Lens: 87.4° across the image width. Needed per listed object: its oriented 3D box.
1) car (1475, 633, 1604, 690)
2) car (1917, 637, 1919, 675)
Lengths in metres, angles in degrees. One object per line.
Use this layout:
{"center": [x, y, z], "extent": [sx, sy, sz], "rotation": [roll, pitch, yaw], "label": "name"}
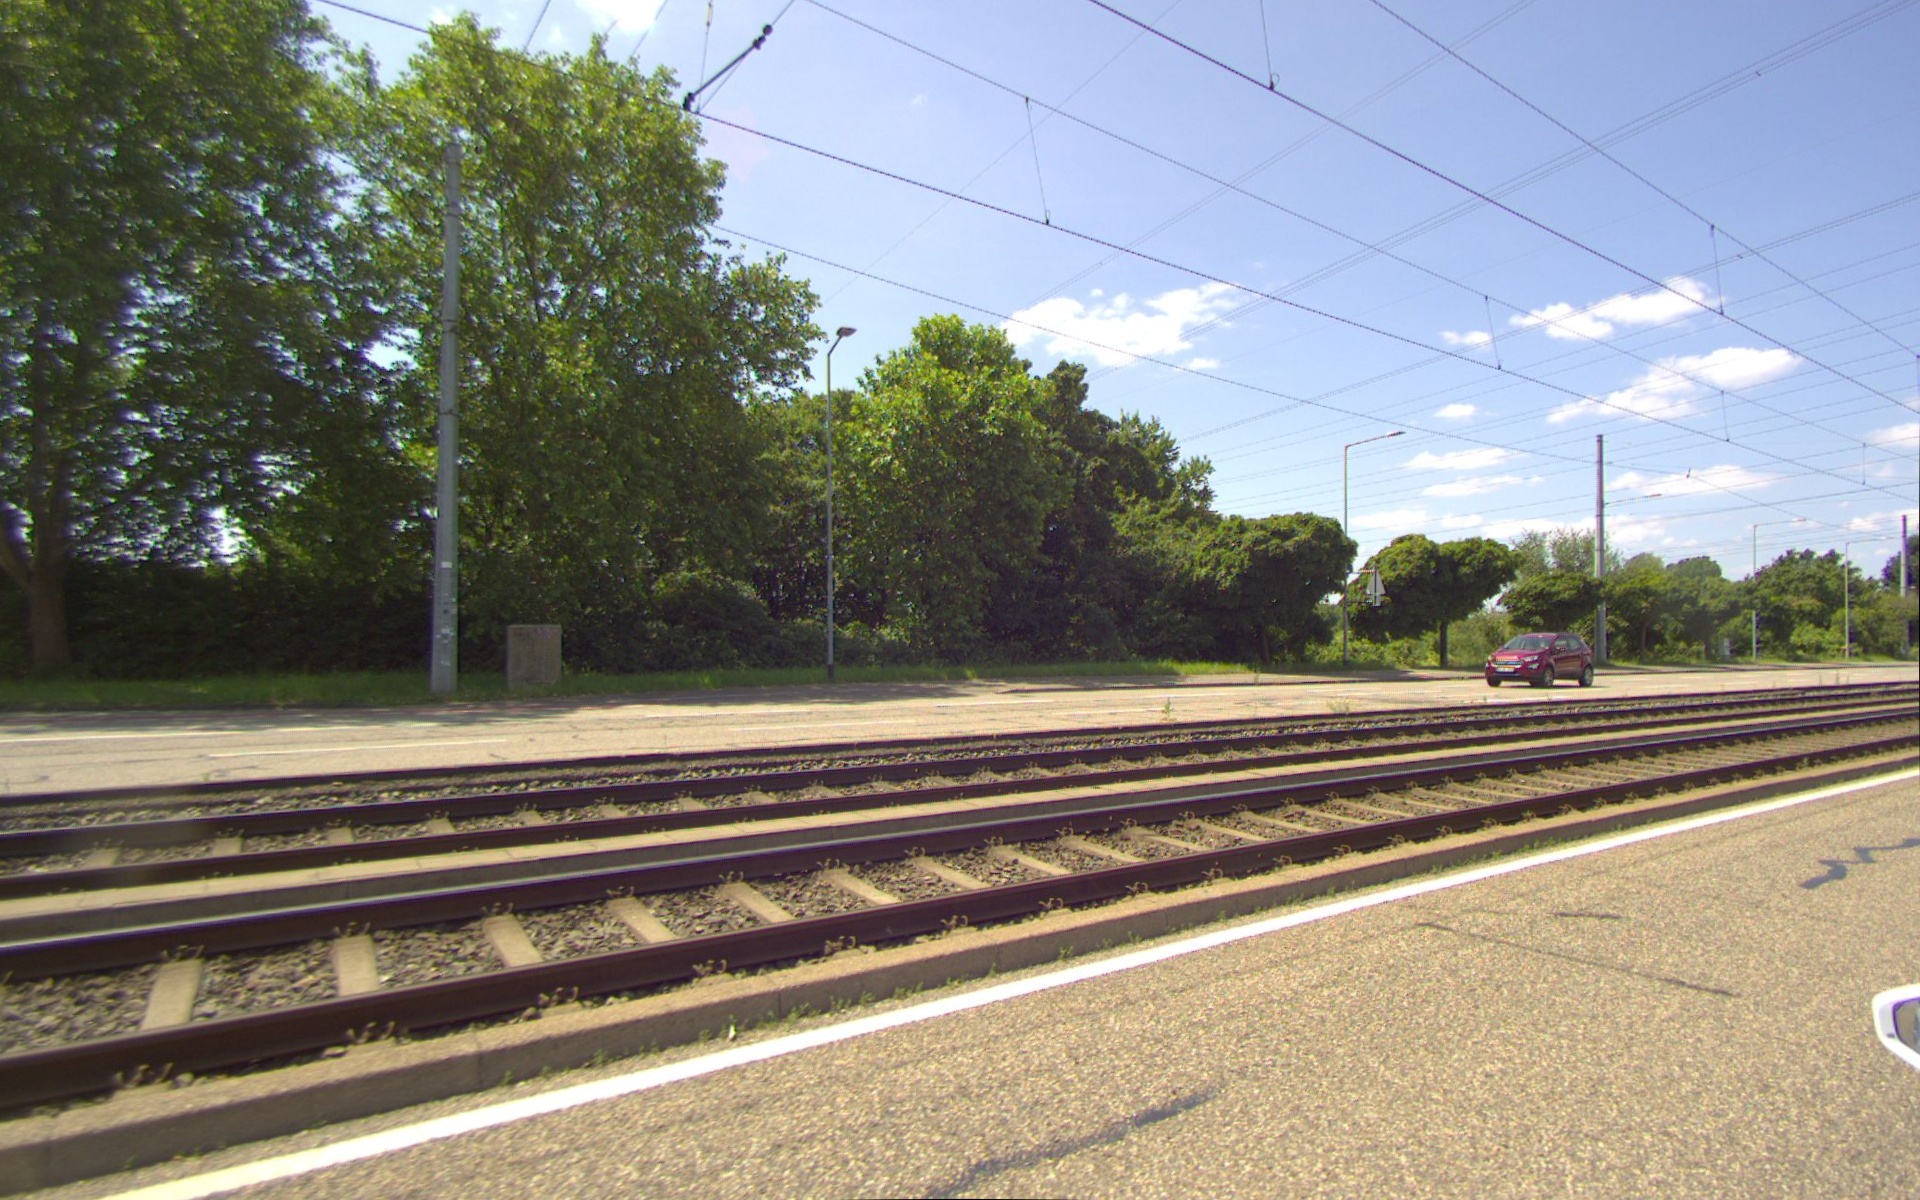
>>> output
{"center": [17.711, 1.845, 30.672], "extent": [4.169, 1.646, 1.790], "rotation": [2, -3, -35], "label": "car"}
{"center": [44.425, 2.476, 44.694], "extent": [4.449, 1.646, 1.790], "rotation": [2, -3, -35], "label": "car"}
